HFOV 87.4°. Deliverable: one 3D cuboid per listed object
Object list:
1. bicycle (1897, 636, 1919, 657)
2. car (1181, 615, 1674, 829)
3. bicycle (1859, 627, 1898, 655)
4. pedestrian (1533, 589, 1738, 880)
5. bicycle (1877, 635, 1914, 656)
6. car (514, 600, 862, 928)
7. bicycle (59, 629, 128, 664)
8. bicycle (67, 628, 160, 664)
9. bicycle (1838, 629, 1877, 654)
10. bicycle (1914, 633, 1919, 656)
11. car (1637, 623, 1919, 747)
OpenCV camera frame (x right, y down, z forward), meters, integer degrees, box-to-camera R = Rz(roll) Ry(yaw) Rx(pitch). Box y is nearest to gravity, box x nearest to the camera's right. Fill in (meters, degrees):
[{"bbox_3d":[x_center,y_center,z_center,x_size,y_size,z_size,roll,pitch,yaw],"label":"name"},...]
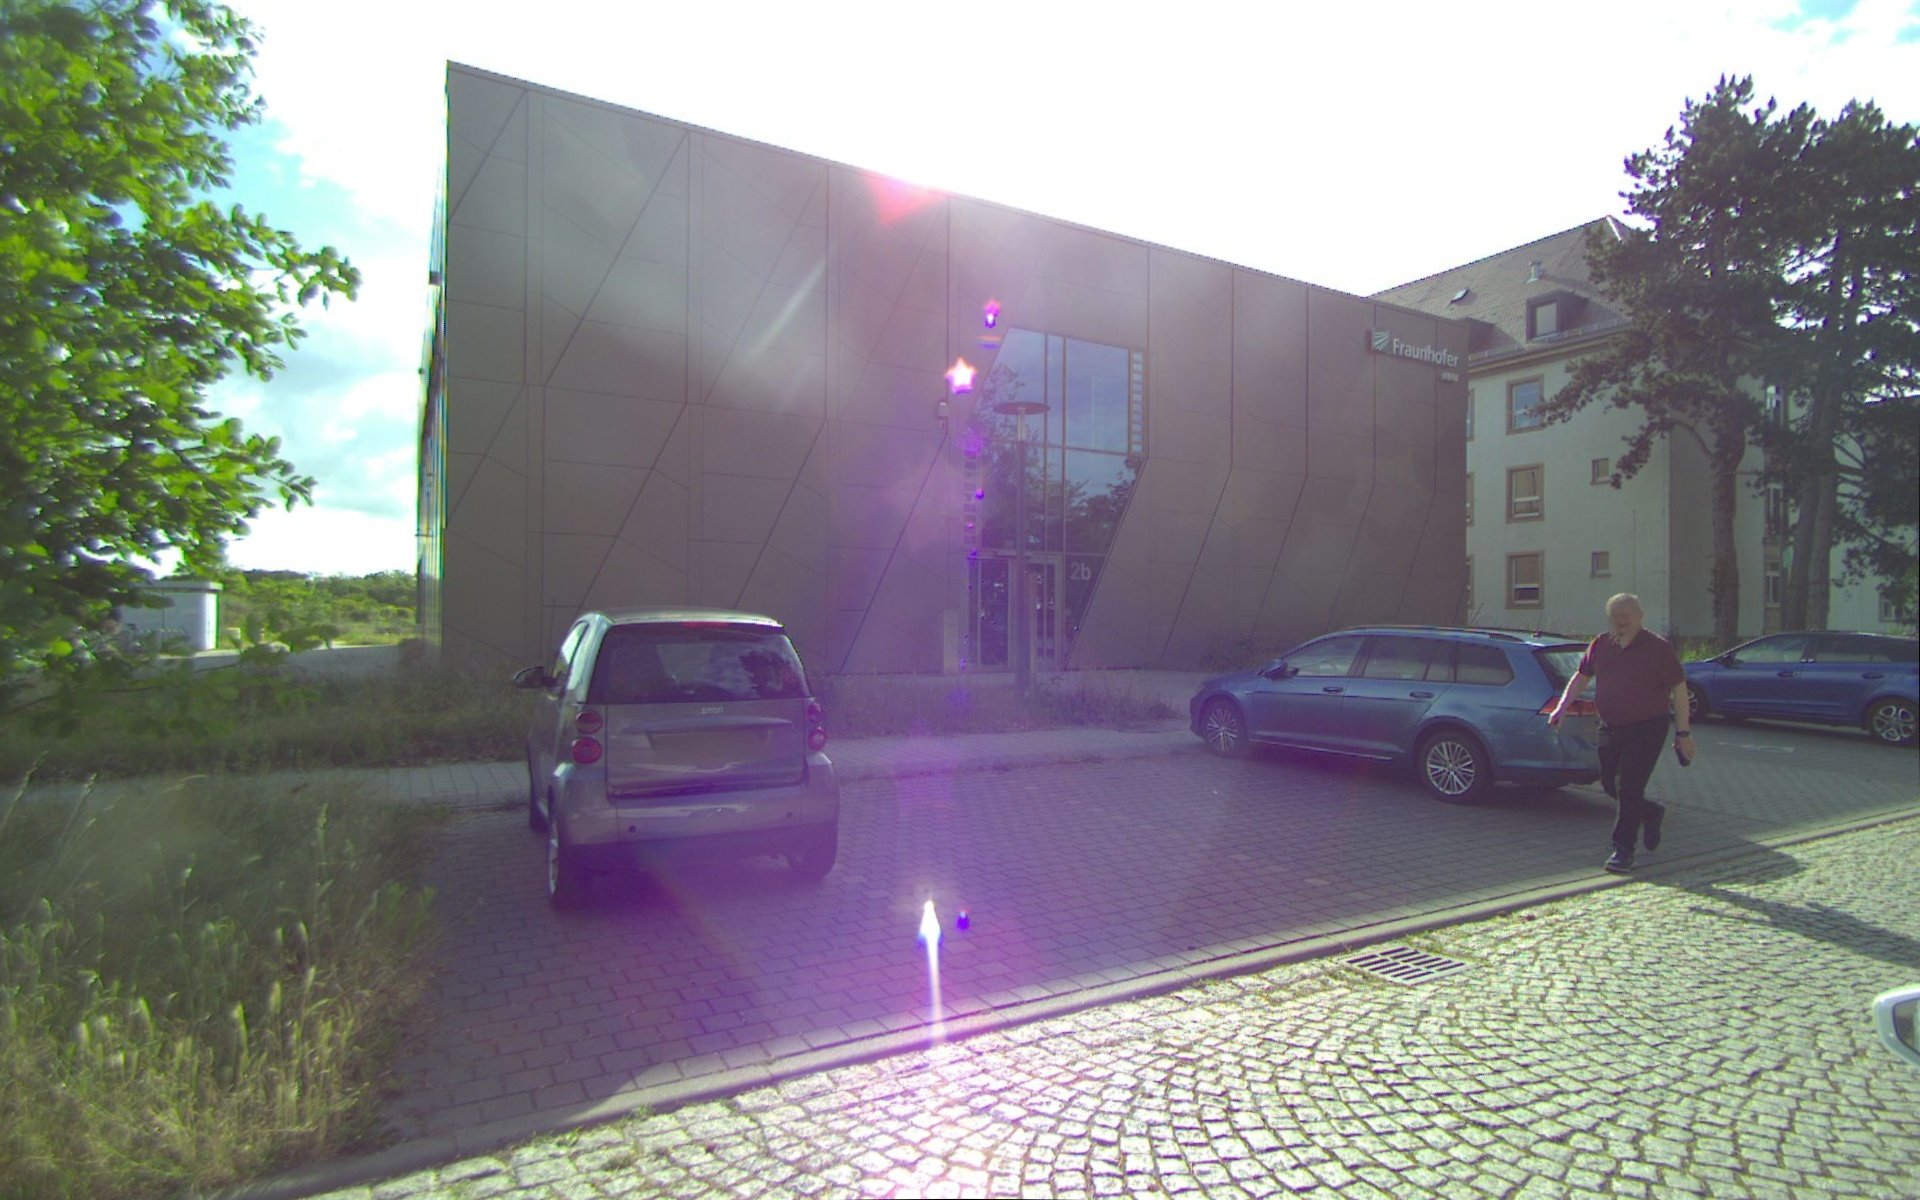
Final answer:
[{"bbox_3d":[48.657,2.345,51.132,2.099,1.061,0.822,1,-1,-30],"label":"bicycle"},{"bbox_3d":[4.288,0.975,9.949,1.662,1.484,4.233,-1,1,-31],"label":"car"},{"bbox_3d":[48.156,2.128,52.657,2.524,1.456,0.822,1,-1,-30],"label":"bicycle"},{"bbox_3d":[4.620,0.847,6.875,1.141,1.795,0.799,1,-1,-34],"label":"pedestrian"},{"bbox_3d":[48.244,2.338,51.793,2.099,1.061,0.822,1,-1,-30],"label":"bicycle"},{"bbox_3d":[-1.880,0.813,6.441,1.501,1.563,2.686,1,0,-30],"label":"car"},{"bbox_3d":[-24.052,1.279,27.910,1.339,0.911,0.515,-1,0,-27],"label":"bicycle"},{"bbox_3d":[-25.100,1.347,29.842,1.942,0.982,0.837,-1,0,-27],"label":"bicycle"},{"bbox_3d":[47.526,2.210,53.181,2.524,1.298,0.822,1,-1,-30],"label":"bicycle"},{"bbox_3d":[48.291,2.199,49.238,0.819,1.123,2.105,1,-1,-32],"label":"bicycle"},{"bbox_3d":[12.460,1.152,14.745,1.698,1.483,3.820,1,0,-28],"label":"car"}]
